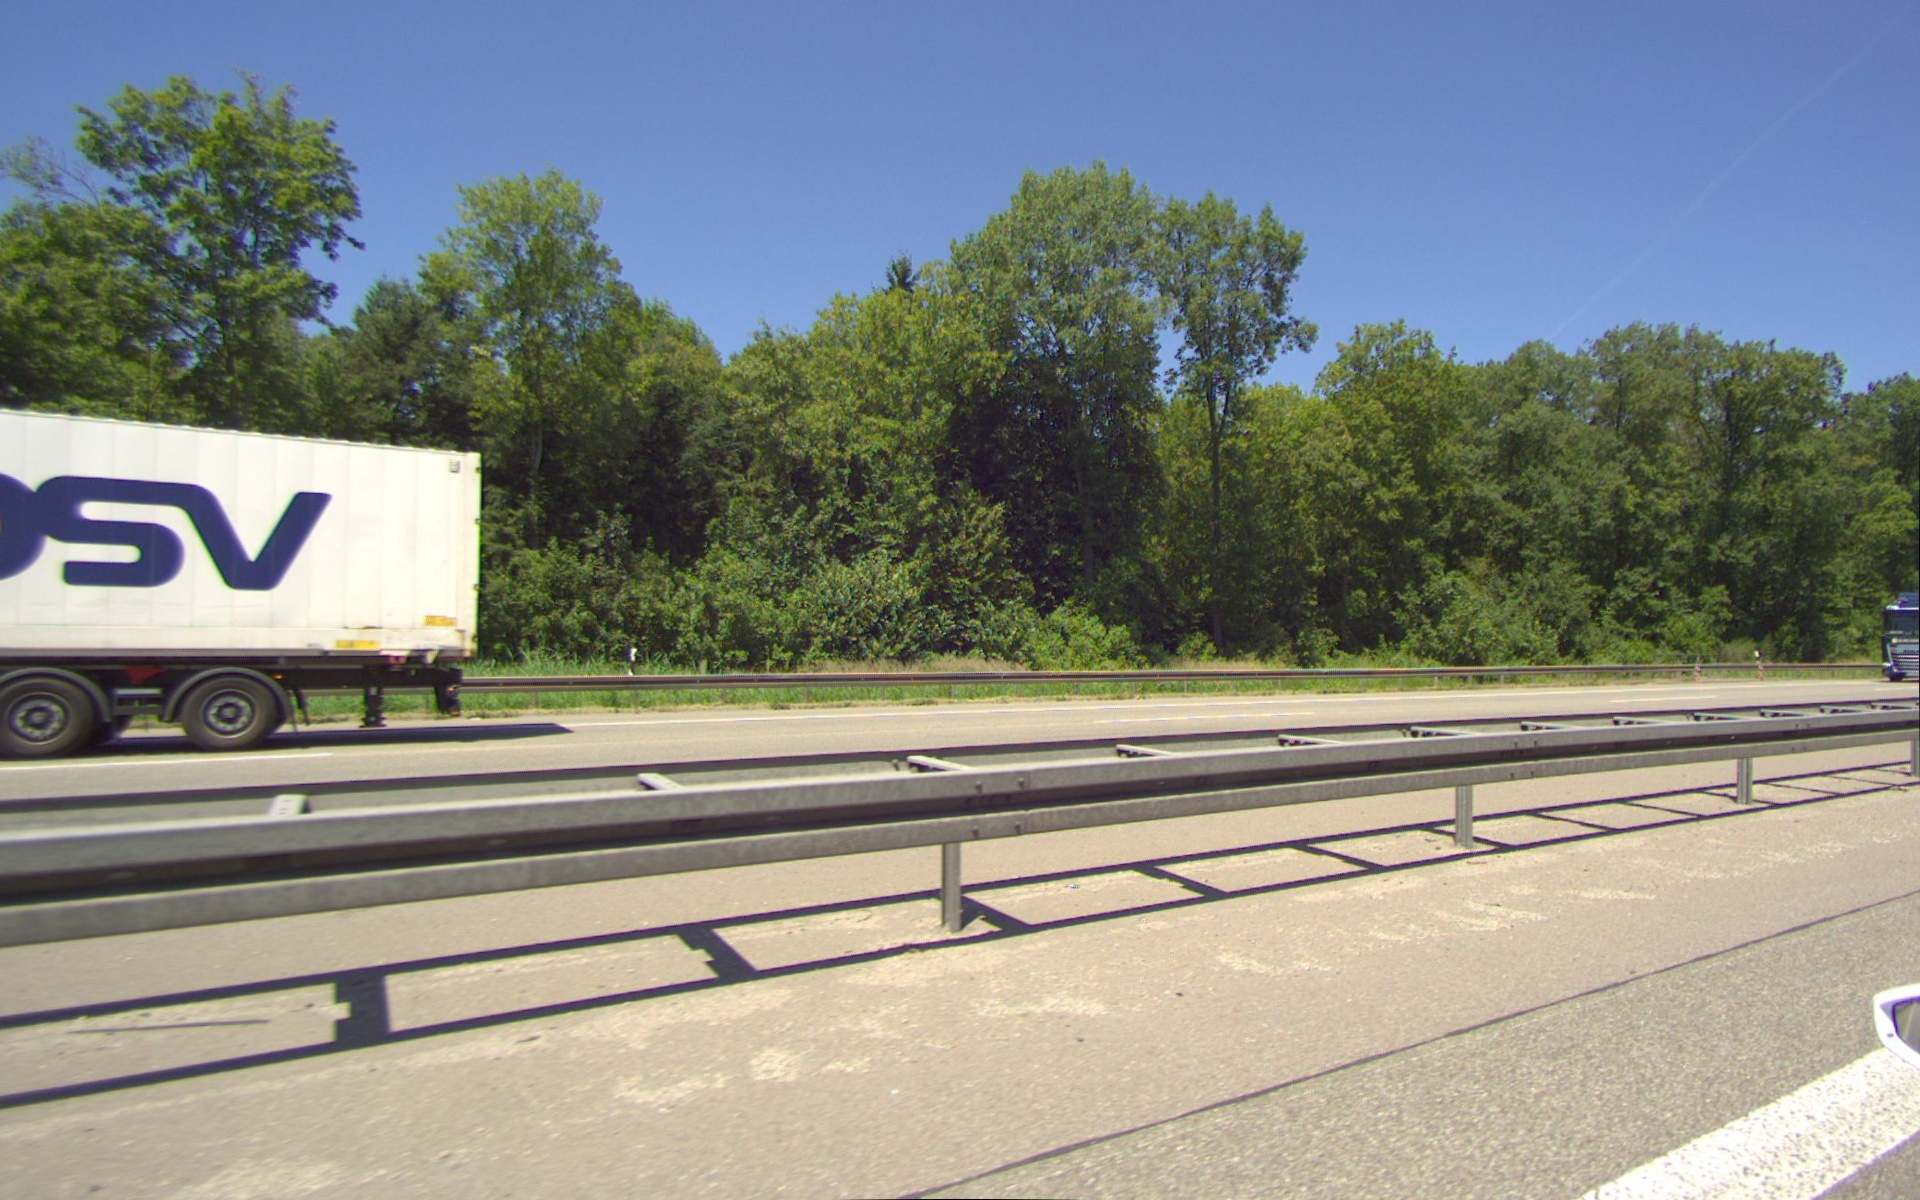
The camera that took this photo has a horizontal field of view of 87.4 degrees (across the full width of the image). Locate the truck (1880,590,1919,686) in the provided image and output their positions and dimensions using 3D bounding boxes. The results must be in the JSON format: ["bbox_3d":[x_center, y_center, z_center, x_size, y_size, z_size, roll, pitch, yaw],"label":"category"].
[{"bbox_3d":[50.385,1.992,49.674,13.750,4.399,3.307,2,0,-31],"label":"truck"}]

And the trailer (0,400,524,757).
[{"bbox_3d":[-10.449,-0.186,13.092,8.460,4.042,2.566,2,-2,-31],"label":"trailer"}]

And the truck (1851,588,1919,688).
[{"bbox_3d":[44.454,1.760,46.199,6.536,4.399,3.307,2,0,-31],"label":"truck"}]
